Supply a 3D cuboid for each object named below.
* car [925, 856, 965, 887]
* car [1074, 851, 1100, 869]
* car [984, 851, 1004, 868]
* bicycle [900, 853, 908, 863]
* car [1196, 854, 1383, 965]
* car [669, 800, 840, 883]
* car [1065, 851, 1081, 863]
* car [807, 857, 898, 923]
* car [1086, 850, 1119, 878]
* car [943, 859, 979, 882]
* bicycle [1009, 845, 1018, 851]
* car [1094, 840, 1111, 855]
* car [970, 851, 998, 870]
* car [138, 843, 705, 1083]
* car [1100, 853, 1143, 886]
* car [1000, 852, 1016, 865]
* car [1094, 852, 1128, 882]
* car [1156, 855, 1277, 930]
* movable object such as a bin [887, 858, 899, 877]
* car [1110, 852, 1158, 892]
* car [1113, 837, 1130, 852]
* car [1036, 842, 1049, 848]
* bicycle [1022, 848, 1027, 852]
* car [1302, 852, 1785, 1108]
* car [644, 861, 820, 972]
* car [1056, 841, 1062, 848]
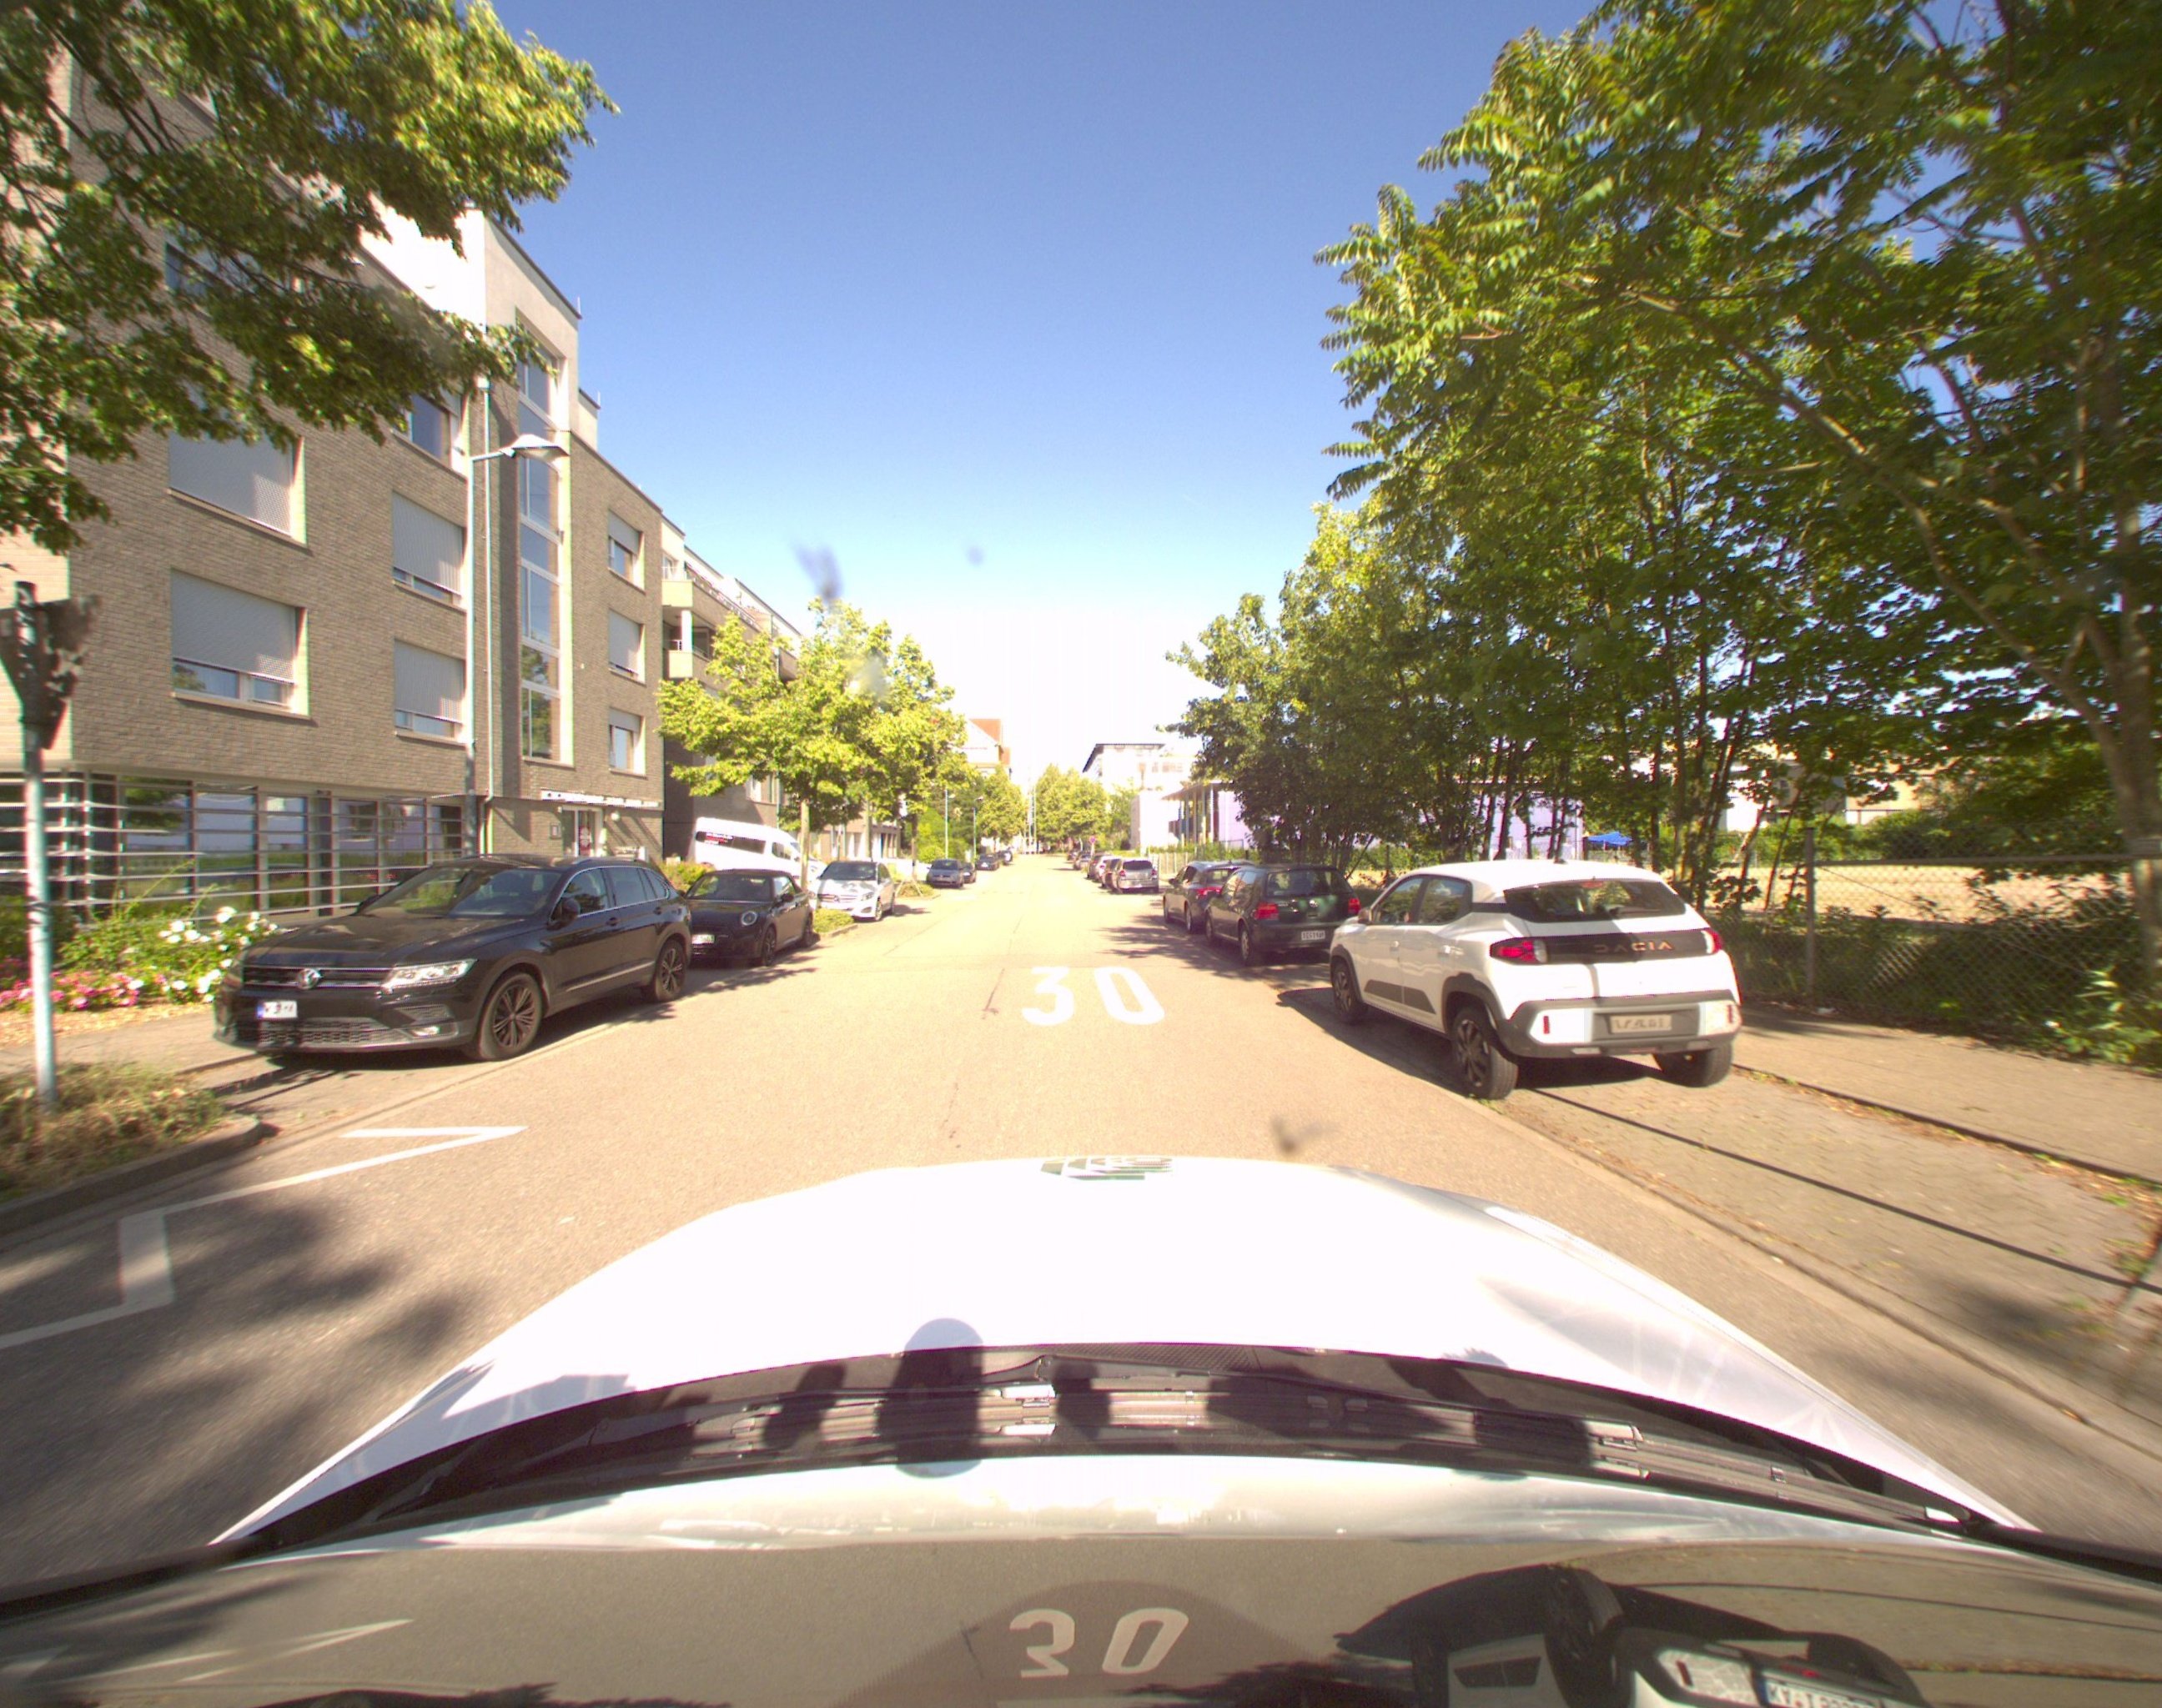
[{"bbox_3d":[-6.952,0.873,41.947,1.607,1.465,3.869,-1,0,-4],"label":"car"},{"bbox_3d":[0.485,0.542,70.472,1.827,1.422,4.225,-3,0,-6],"label":"car"},{"bbox_3d":[-8.218,0.477,76.764,1.626,1.501,3.574,0,0,-2],"label":"car"},{"bbox_3d":[-15.204,0.350,69.871,0.252,0.837,1.774,0,1,1],"label":"bicycle"},{"bbox_3d":[3.104,0.753,13.026,1.820,1.472,4.065,0,0,-2],"label":"car"},{"bbox_3d":[-12.302,-0.440,30.985,5.439,2.383,1.918,7,-1,-6],"label":"car"},{"bbox_3d":[-1.056,0.402,107.133,1.989,1.486,3.996,-1,0,-2],"label":"car"},{"bbox_3d":[-6.087,0.896,22.136,1.657,1.532,4.278,-1,1,-6],"label":"car"},{"bbox_3d":[1.325,0.600,52.190,1.722,1.652,4.321,-2,1,-3],"label":"car"},{"bbox_3d":[-6.956,0.932,47.443,1.594,1.217,3.873,2,1,-2],"label":"car"},{"bbox_3d":[-10.349,-0.877,124.664,1.465,0.842,0.335,0,1,-7],"label":"bicycle"},{"bbox_3d":[2.998,-0.930,113.709,2.019,2.013,3.996,-1,0,-2],"label":"car"},{"bbox_3d":[-8.395,0.510,70.743,1.755,1.527,4.001,2,0,1],"label":"car"},{"bbox_3d":[-5.512,0.765,7.755,1.881,1.619,4.336,0,-1,-1],"label":"car"},{"bbox_3d":[1.889,0.698,39.266,1.684,1.494,4.073,0,0,-3],"label":"car"},{"bbox_3d":[-8.988,0.581,100.499,1.773,1.530,3.996,-1,0,-2],"label":"car"},{"bbox_3d":[1.687,0.726,46.914,1.676,1.542,3.845,0,1,-3],"label":"car"},{"bbox_3d":[2.829,0.745,17.972,1.673,1.437,4.433,0,0,-4],"label":"car"},{"bbox_3d":[-11.366,0.818,49.354,0.606,1.090,0.636,0,1,-4],"label":"movable object such as a bin"},{"bbox_3d":[2.179,0.715,34.387,1.658,1.512,3.998,0,1,-2],"label":"car"},{"bbox_3d":[5.606,-1.301,113.957,1.989,2.013,3.997,-1,1,-2],"label":"car"},{"bbox_3d":[-12.106,-2.775,255.599,3.976,2.013,1.999,0,1,-2],"label":"car"},{"bbox_3d":[-10.101,-0.790,144.635,0.376,0.683,1.068,-1,2,-39],"label":"bicycle"},{"bbox_3d":[3.215,0.756,6.727,1.615,1.451,4.088,0,-1,-1],"label":"car"},{"bbox_3d":[-5.554,0.901,13.459,1.576,1.504,3.783,-1,0,-6],"label":"car"},{"bbox_3d":[-6.981,-3.063,257.213,1.988,2.013,3.998,0,1,-2],"label":"car"}]
